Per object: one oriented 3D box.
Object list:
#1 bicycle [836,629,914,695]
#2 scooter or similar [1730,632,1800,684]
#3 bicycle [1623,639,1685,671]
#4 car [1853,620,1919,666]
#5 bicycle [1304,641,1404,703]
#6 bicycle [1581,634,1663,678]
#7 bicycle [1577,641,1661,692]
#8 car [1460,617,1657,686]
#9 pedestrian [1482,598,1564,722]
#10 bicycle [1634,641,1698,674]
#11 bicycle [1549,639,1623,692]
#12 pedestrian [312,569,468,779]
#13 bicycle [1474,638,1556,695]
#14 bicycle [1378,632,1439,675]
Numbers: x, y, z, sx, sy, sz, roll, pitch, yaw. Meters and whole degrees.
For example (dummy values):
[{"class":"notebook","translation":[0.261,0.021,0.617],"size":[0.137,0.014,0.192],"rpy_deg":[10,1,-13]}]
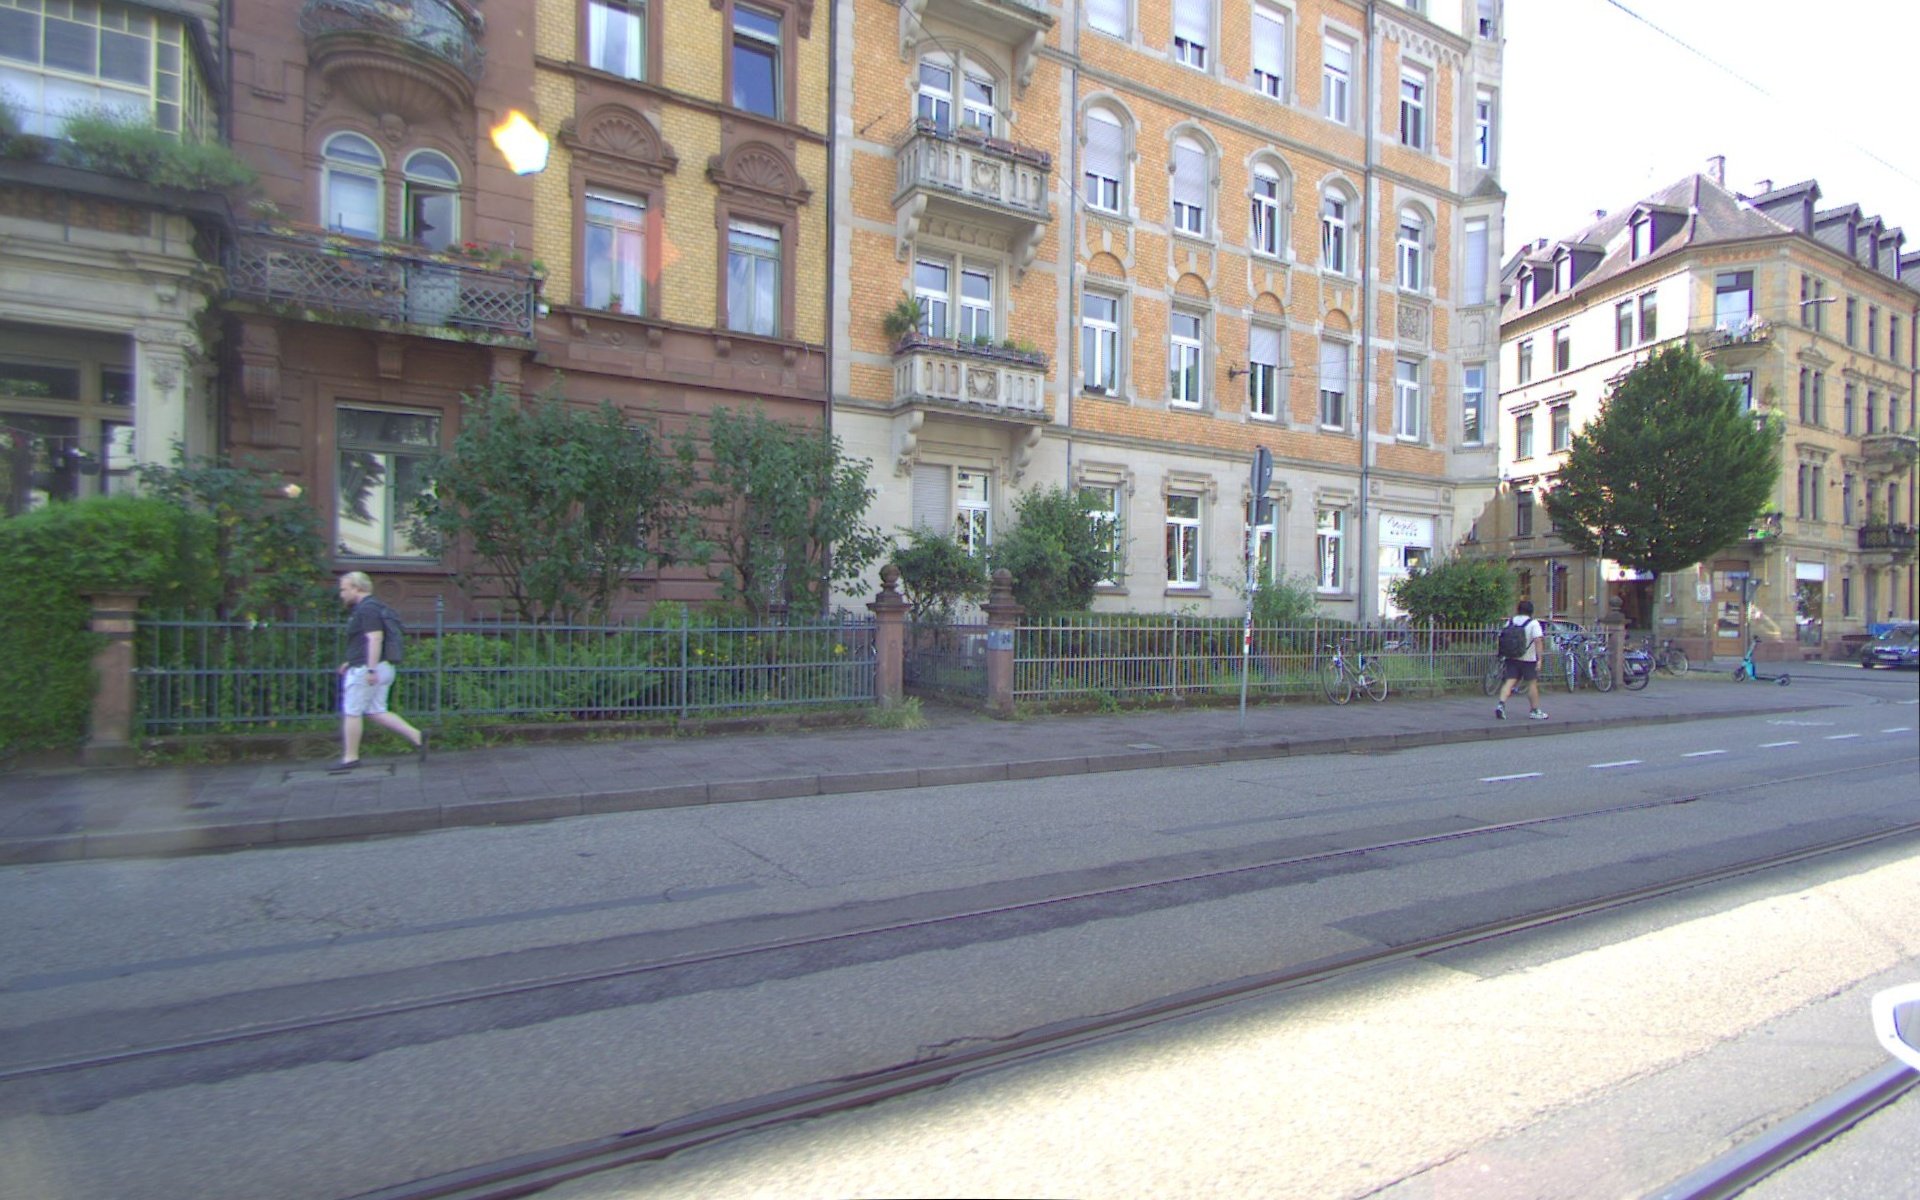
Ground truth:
[{"class":"bicycle","translation":[-1.368,0.943,15.787],"size":[0.418,0.945,1.933],"rpy_deg":[1,-1,-31]},{"class":"scooter or similar","translation":[20.644,1.476,25.785],"size":[1.342,1.251,0.403],"rpy_deg":[1,0,32]},{"class":"bicycle","translation":[19.278,1.518,27.906],"size":[1.671,0.849,0.523],"rpy_deg":[0,0,-17]},{"class":"car","translation":[32.758,1.460,34.588],"size":[4.709,1.478,1.677],"rpy_deg":[1,-1,-30]},{"class":"bicycle","translation":[6.408,1.150,16.305],"size":[1.927,0.945,0.419],"rpy_deg":[1,0,-31]},{"class":"bicycle","translation":[17.336,1.447,26.334],"size":[0.519,1.078,1.742],"rpy_deg":[0,0,-35]},{"class":"bicycle","translation":[13.719,1.360,20.947],"size":[0.399,0.989,1.446],"rpy_deg":[1,-1,-29]},{"class":"car","translation":[13.883,1.142,23.509],"size":[1.763,1.422,3.592],"rpy_deg":[1,0,-25]},{"class":"pedestrian","translation":[8.408,0.876,14.993],"size":[1.093,1.784,0.530],"rpy_deg":[1,2,-31]},{"class":"bicycle","translation":[19.112,1.543,27.186],"size":[1.671,0.849,0.523],"rpy_deg":[0,0,-17]},{"class":"bicycle","translation":[12.361,1.269,19.811],"size":[1.927,0.989,0.419],"rpy_deg":[1,0,-31]},{"class":"pedestrian","translation":[-4.948,0.614,8.743],"size":[1.139,1.726,0.485],"rpy_deg":[1,0,-33]},{"class":"bicycle","translation":[10.236,1.201,18.503],"size":[1.927,0.989,0.419],"rpy_deg":[1,0,-31]},{"class":"bicycle","translation":[11.079,1.305,24.843],"size":[0.399,0.989,1.446],"rpy_deg":[1,-1,-29]}]
